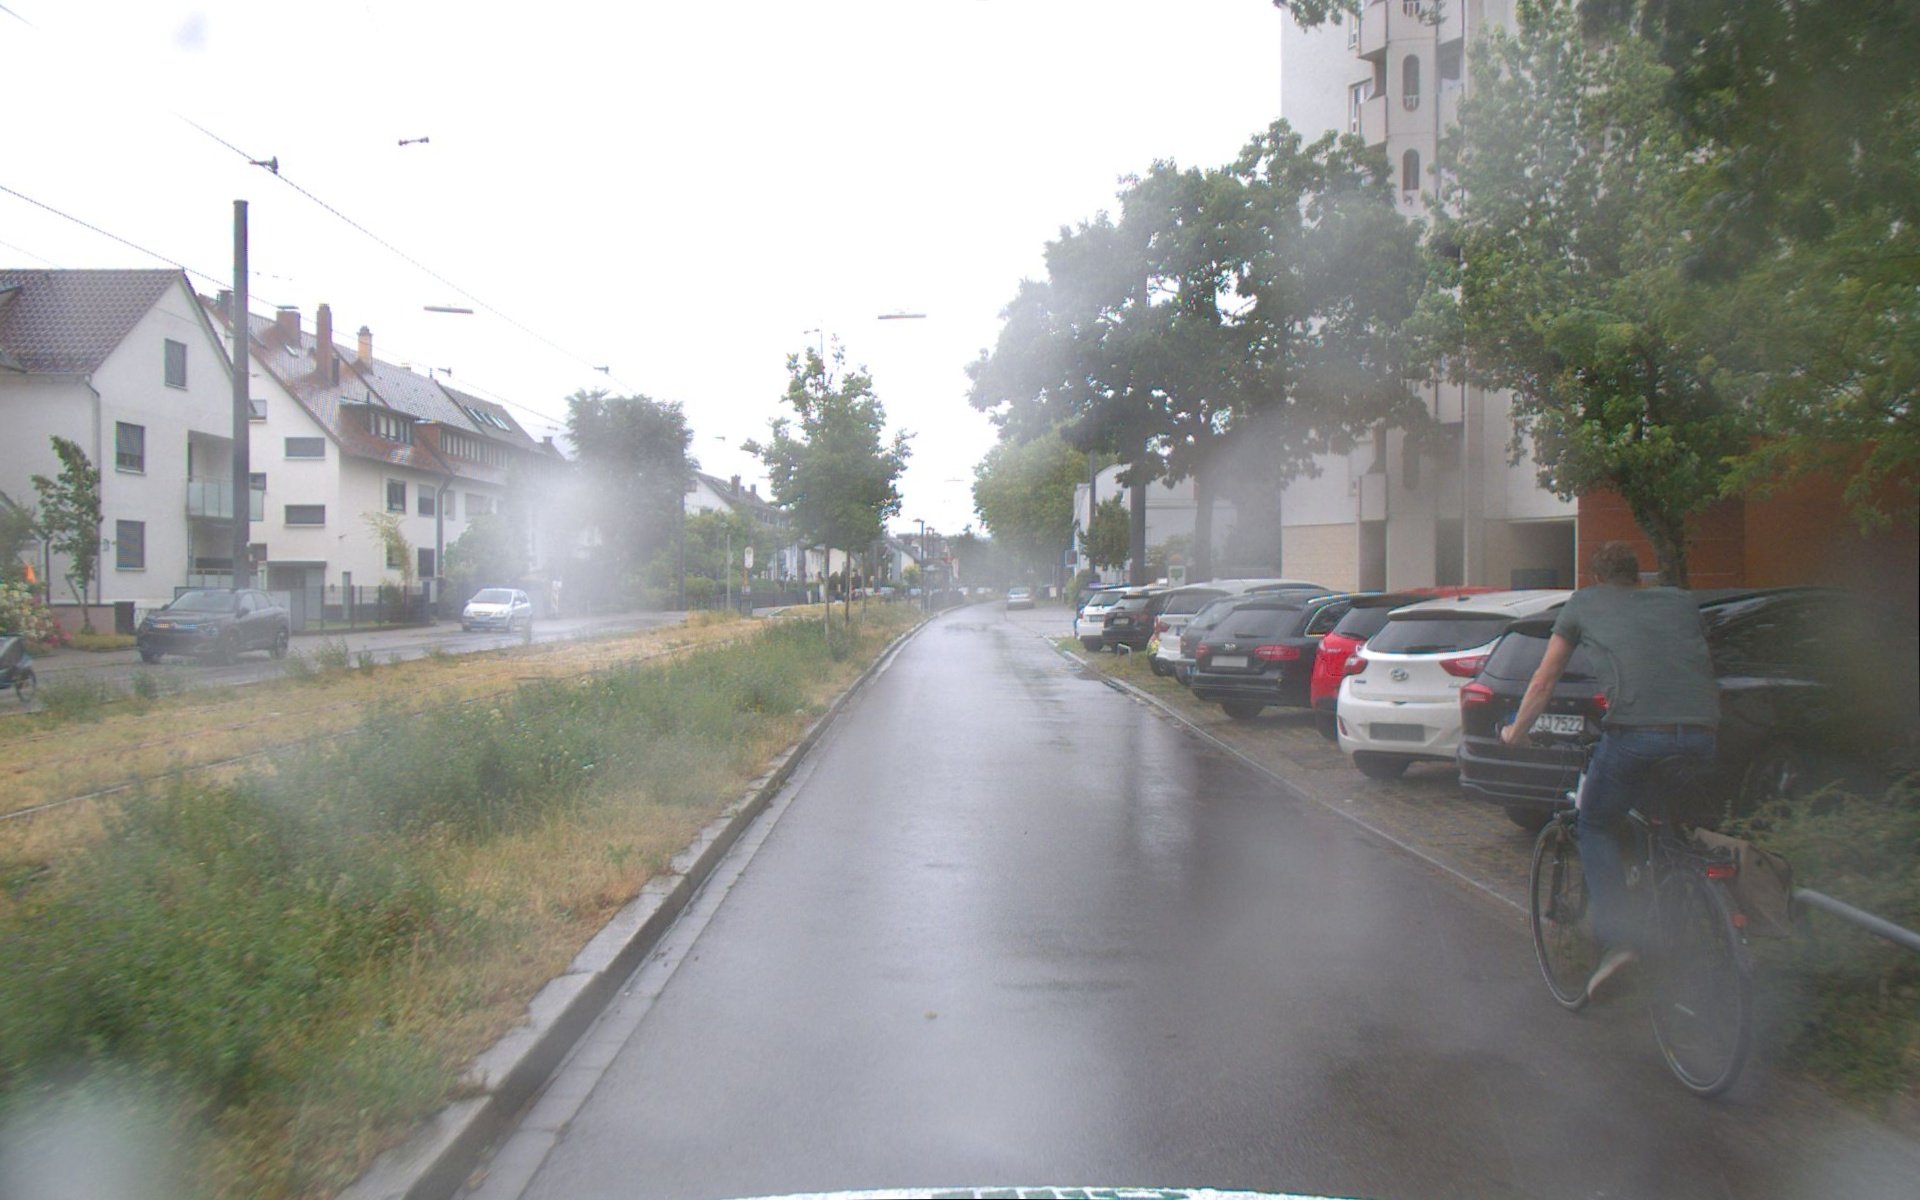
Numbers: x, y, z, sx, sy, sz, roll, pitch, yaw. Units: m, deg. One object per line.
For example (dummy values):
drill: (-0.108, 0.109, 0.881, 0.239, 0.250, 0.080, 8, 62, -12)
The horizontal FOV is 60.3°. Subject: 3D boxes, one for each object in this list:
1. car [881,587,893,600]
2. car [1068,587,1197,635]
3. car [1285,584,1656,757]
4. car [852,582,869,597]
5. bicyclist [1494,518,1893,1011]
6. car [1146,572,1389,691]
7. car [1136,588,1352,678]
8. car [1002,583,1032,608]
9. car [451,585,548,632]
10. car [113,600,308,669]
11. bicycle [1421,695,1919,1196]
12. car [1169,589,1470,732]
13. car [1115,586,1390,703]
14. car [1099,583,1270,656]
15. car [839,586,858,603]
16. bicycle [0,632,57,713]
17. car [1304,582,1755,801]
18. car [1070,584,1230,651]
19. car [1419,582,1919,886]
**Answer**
car: (-10.273, -0.948, 232.793, 1.648, 1.701, 3.999, -1, 1, -1)
car: (5.321, 0.322, 50.824, 3.999, 1.393, 1.564, -1, 1, -38)
car: (5.279, 0.628, 16.916, 3.996, 1.545, 1.565, -1, 1, -36)
car: (-11.243, -1.163, 186.928, 1.648, 1.701, 3.999, -1, 1, -1)
bicyclist: (2.374, 0.484, 5.488, 0.793, 1.458, 1.059, -1, 0, -4)
car: (4.922, 0.440, 26.266, 3.999, 1.733, 1.564, -1, 1, -38)
car: (5.125, 0.539, 29.591, 3.999, 1.471, 1.564, -1, 1, -38)
car: (3.825, -0.320, 110.883, 1.796, 1.614, 3.999, -1, 1, -1)
car: (-15.855, 0.266, 57.171, 1.857, 1.495, 4.688, 2, 1, 2)
car: (-15.749, 0.686, 35.063, 1.857, 1.266, 4.688, 2, 1, 2)
bicycle: (2.380, 0.970, 5.575, 0.793, 1.116, 2.515, -1, 1, -4)
car: (4.298, 0.628, 19.387, 1.559, 1.468, 4.012, 0, 1, 45)
car: (4.159, 0.560, 23.241, 3.999, 1.468, 1.564, -1, 1, -38)
car: (5.168, 0.410, 37.886, 3.999, 1.567, 1.564, -1, 1, -38)
car: (-11.851, -0.614, 176.219, 1.805, 1.701, 3.999, -1, 1, -1)
bicycle: (-13.386, 1.004, 22.049, 0.998, 1.045, 3.196, -1, 1, -1)
car: (4.814, 0.648, 13.766, 3.996, 1.545, 1.565, -1, 1, -36)
car: (4.721, 0.400, 40.800, 3.999, 1.539, 1.564, -1, 1, -38)
car: (5.018, 0.673, 10.542, 4.180, 1.545, 1.854, -1, 1, -36)
